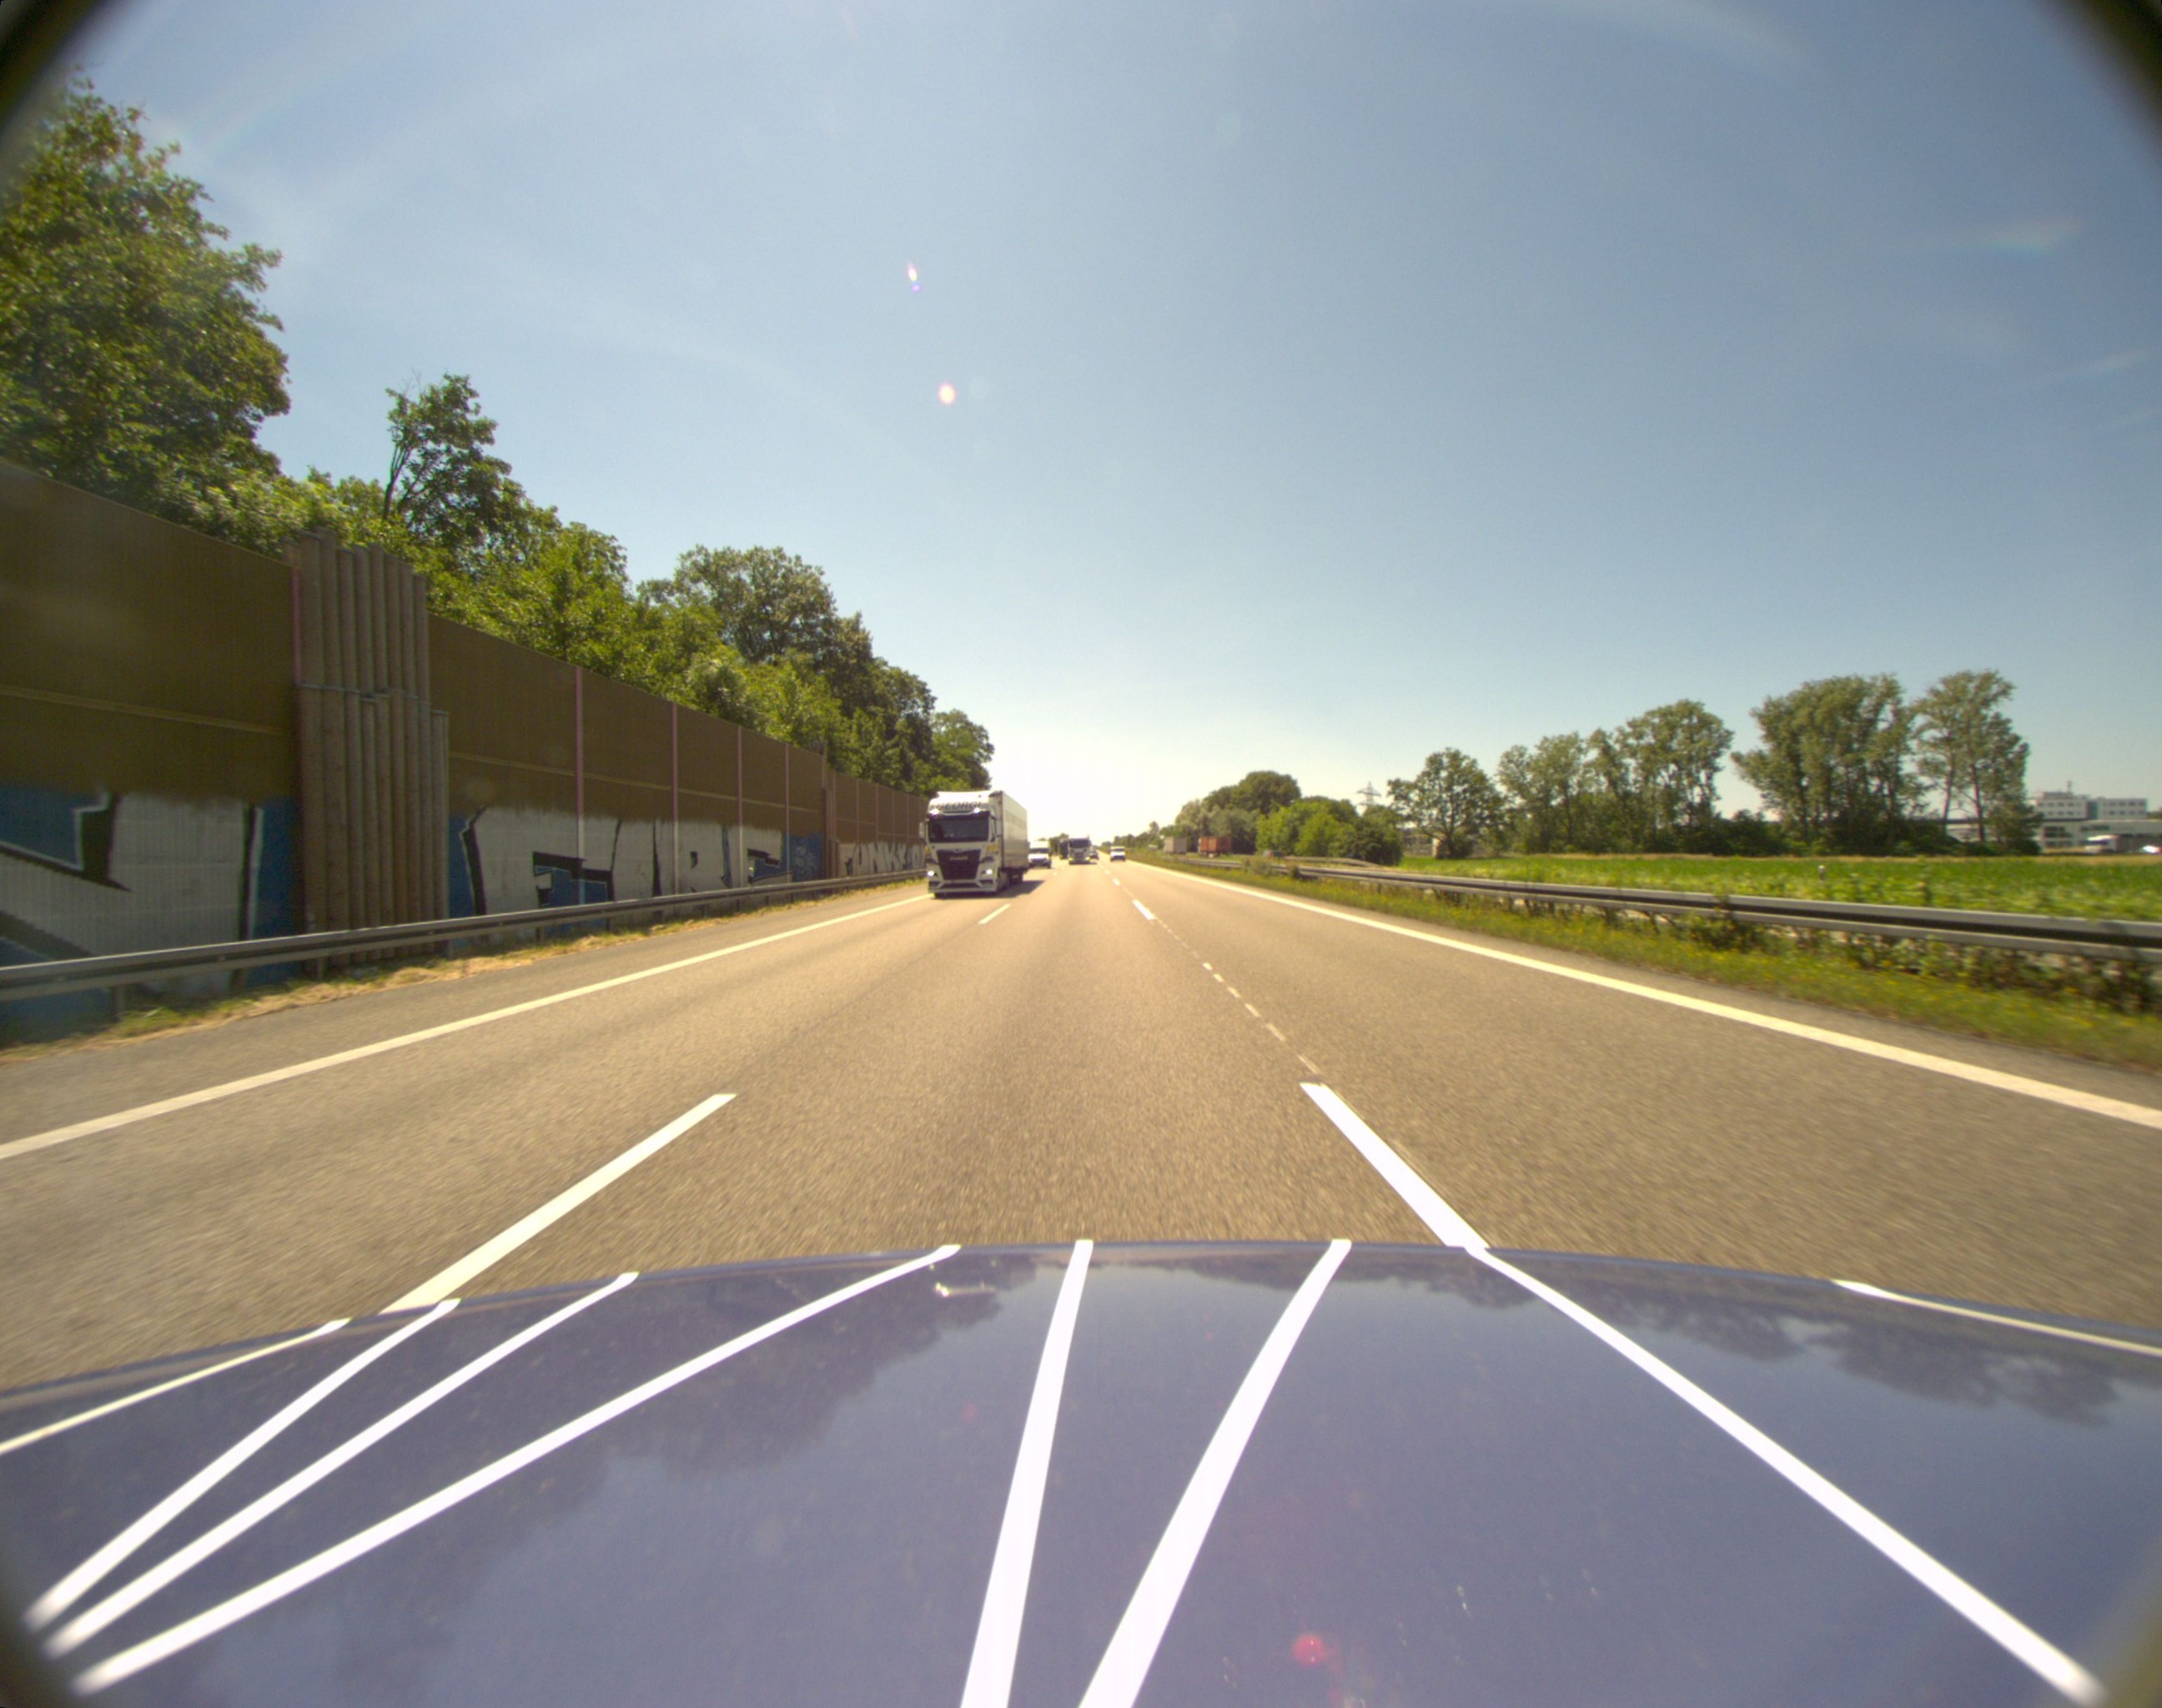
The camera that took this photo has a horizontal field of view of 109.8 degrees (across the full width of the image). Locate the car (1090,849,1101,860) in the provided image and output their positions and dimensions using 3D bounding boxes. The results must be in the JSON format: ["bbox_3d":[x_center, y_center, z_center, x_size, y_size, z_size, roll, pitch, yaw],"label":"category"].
[{"bbox_3d":[2.300,0.045,122.616,1.796,1.696,4.000,0,1,1],"label":"car"}]

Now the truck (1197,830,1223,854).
[{"bbox_3d":[22.566,-2.130,133.181,2.655,3.862,10.825,2,1,0],"label":"truck"}]

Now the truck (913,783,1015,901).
[{"bbox_3d":[-4.380,-0.480,29.636,3.010,4.101,5.251,-2,1,0],"label":"truck"}]

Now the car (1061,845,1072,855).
[{"bbox_3d":[-2.874,-0.780,148.014,1.998,2.002,4.867,0,1,0],"label":"car"}]

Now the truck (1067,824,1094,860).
[{"bbox_3d":[-0.036,-1.383,89.801,2.896,4.007,6.868,-2,1,1],"label":"truck"}]

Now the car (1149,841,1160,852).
[{"bbox_3d":[20.433,-1.976,210.242,2.553,2.965,8.084,0,1,2],"label":"car"}]

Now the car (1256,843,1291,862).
[{"bbox_3d":[18.004,-0.169,71.314,1.998,1.670,5.551,0,1,1],"label":"car"}]

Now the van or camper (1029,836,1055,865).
[{"bbox_3d":[-3.745,-0.390,73.680,2.027,2.622,6.486,-2,1,0],"label":"van or camper"}]

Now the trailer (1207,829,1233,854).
[{"bbox_3d":[22.481,-2.042,123.430,2.665,3.897,8.659,2,1,0],"label":"trailer"}]

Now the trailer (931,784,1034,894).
[{"bbox_3d":[-4.342,-0.686,36.881,3.001,4.264,13.415,-2,1,0],"label":"trailer"}]

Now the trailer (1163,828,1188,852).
[{"bbox_3d":[18.382,-2.752,148.247,3.203,4.397,13.323,0,1,0],"label":"trailer"}]

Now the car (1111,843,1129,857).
[{"bbox_3d":[5.168,-0.587,101.979,2.147,1.810,5.266,-2,1,1],"label":"car"}]

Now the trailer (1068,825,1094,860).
[{"bbox_3d":[0.002,-1.471,94.294,2.927,4.018,7.315,-2,1,0],"label":"trailer"}]
